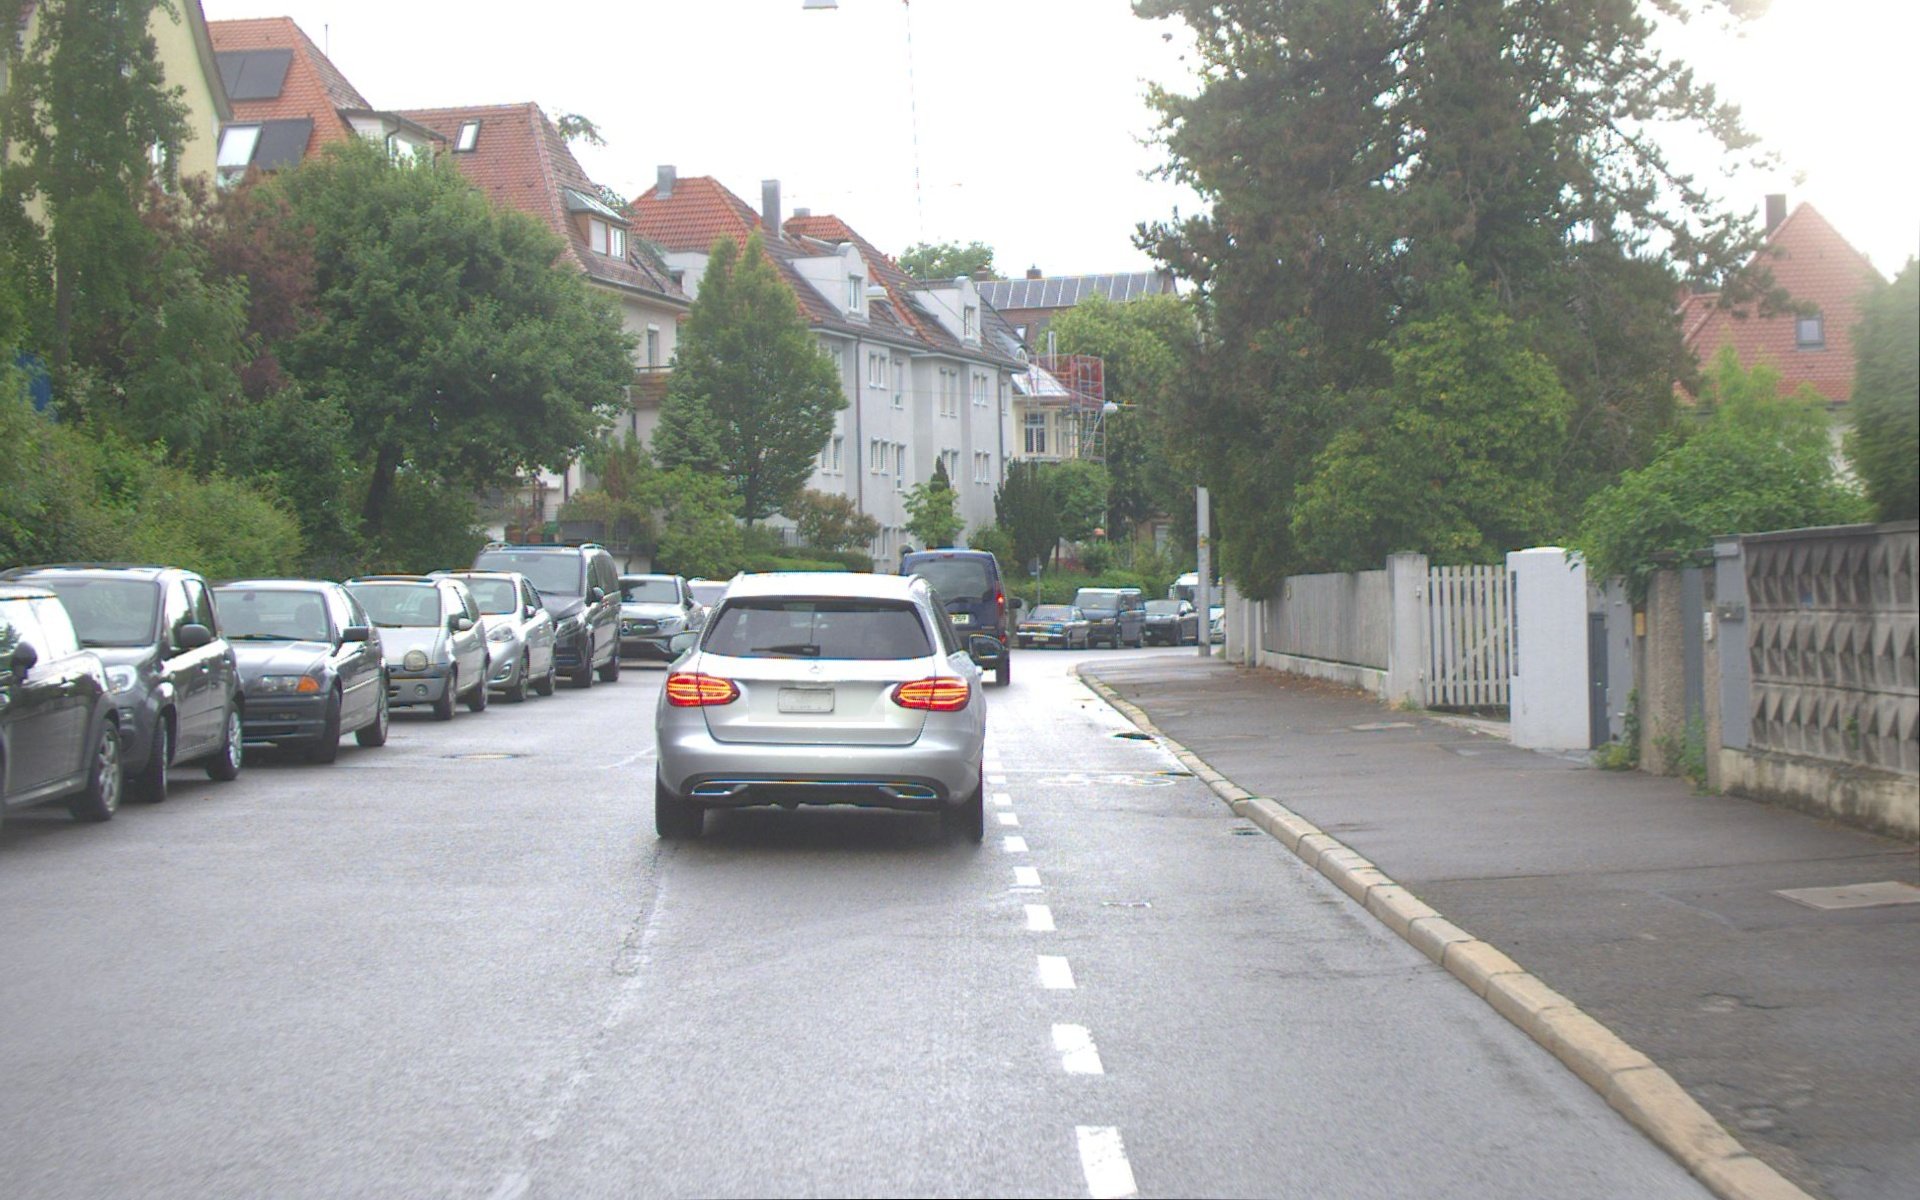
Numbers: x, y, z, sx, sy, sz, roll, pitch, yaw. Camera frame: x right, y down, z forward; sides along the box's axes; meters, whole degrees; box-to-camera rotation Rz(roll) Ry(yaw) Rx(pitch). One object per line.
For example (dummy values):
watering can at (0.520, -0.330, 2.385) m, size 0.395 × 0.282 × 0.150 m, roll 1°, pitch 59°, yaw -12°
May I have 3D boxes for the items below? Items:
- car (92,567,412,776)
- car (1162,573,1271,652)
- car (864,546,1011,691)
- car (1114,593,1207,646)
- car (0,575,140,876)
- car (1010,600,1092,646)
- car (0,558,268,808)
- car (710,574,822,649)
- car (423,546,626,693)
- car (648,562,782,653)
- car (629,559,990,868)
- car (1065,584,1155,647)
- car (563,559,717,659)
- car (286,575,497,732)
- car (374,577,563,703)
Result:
car at (-5.654, 0.515, 27.962) m, size 1.756 × 1.442 × 4.417 m, roll 0°, pitch 2°, yaw -1°
car at (9.684, 0.435, 129.377) m, size 2.393 × 2.762 × 6.525 m, roll 1°, pitch 2°, yaw 20°
car at (-0.271, 0.262, 47.498) m, size 1.843 × 1.897 × 4.000 m, roll 1°, pitch 0°, yaw 2°
car at (7.127, 0.668, 122.077) m, size 1.996 × 1.682 × 4.672 m, roll 1°, pitch 2°, yaw 21°
car at (-5.882, 0.640, 18.879) m, size 1.893 × 1.442 × 3.814 m, roll 0°, pitch 2°, yaw -1°
car at (2.954, 0.726, 110.500) m, size 1.644 × 1.412 × 4.609 m, roll 1°, pitch 0°, yaw 14°
car at (-5.865, 0.489, 23.126) m, size 1.696 × 1.536 × 3.814 m, roll 0°, pitch 1°, yaw -1°
car at (-4.403, 0.252, 78.669) m, size 1.792 × 1.575 × 4.137 m, roll 3°, pitch 0°, yaw 7°
car at (-5.908, 0.234, 47.274) m, size 1.993 × 1.872 × 5.356 m, roll 1°, pitch 0°, yaw 1°
car at (-4.960, 0.141, 70.225) m, size 1.994 × 1.696 × 4.738 m, roll 3°, pitch 0°, yaw 4°
car at (-0.767, 0.563, 19.558) m, size 1.816 × 1.551 × 4.000 m, roll 1°, pitch 0°, yaw 0°
car at (5.100, 0.524, 116.242) m, size 1.831 × 2.049 × 5.005 m, roll 1°, pitch 0°, yaw 17°
car at (-5.527, 0.138, 59.934) m, size 1.994 × 1.575 × 4.761 m, roll 3°, pitch 0°, yaw 2°
car at (-5.866, 0.520, 35.806) m, size 1.646 × 1.442 × 3.628 m, roll 0°, pitch 2°, yaw -1°
car at (-5.821, 0.452, 41.053) m, size 1.694 × 1.442 × 3.814 m, roll 0°, pitch 0°, yaw 0°
